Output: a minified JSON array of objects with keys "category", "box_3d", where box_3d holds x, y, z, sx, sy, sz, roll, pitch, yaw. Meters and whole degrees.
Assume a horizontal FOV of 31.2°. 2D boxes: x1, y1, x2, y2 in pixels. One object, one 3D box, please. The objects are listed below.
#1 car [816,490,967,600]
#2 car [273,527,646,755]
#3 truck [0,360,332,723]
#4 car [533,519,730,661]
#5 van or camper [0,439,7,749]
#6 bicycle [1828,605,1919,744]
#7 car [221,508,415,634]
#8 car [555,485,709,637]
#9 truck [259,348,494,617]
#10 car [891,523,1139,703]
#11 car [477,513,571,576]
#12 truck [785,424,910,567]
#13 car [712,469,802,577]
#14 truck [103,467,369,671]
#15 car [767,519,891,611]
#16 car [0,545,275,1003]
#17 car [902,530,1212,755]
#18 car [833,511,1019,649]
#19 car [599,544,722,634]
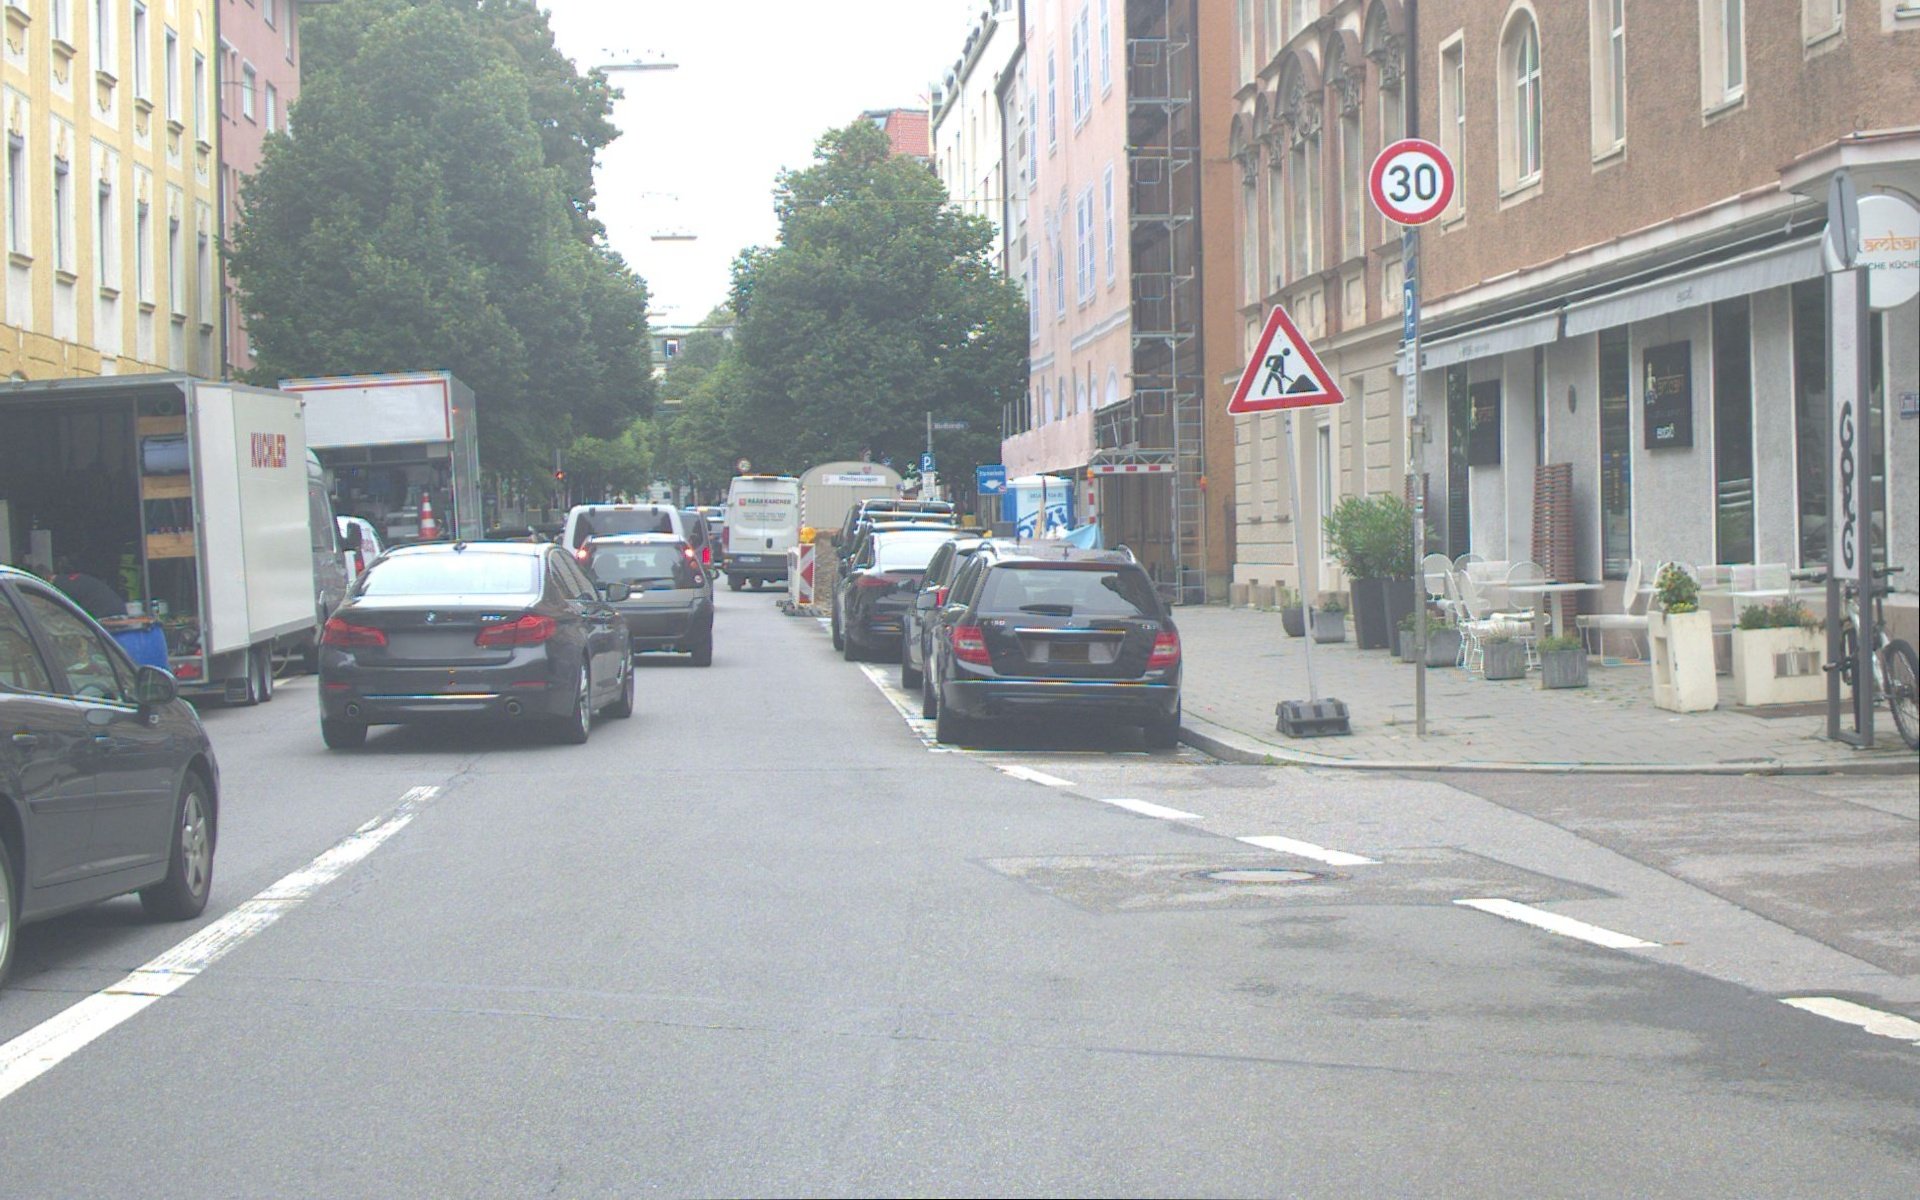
[{"category":"car","box_3d":[-1.005,-0.805,48.144,1.990,1.424,4.141,-1,2,-3]},{"category":"car","box_3d":[-3.591,0.223,25.571,1.990,1.424,4.906,-1,2,1]},{"category":"truck","box_3d":[-7.574,-0.590,30.928,2.773,2.863,7.203,-1,2,-2]},{"category":"car","box_3d":[-3.644,-0.154,38.784,1.990,1.424,4.141,-1,2,-3]},{"category":"van or camper","box_3d":[-7.773,-0.267,20.598,2.600,2.830,6.187,-1,2,-3]},{"category":"bicycle","box_3d":[5.776,0.448,21.271,0.456,0.802,1.326,0,1,-1]},{"category":"car","box_3d":[-8.590,-0.417,46.317,1.990,1.605,4.141,0,1,-3]},{"category":"car","box_3d":[-4.723,-0.613,49.958,1.990,2.068,4.141,-1,2,-3]},{"category":"truck","box_3d":[-9.044,-1.801,54.035,3.012,3.938,6.997,0,1,-5]},{"category":"car","box_3d":[0.434,0.065,31.528,1.844,1.424,4.141,2,2,-4]},{"category":"car","box_3d":[-10.220,-1.312,80.810,1.939,1.443,3.867,0,1,-4]},{"category":"truck","box_3d":[-2.471,-2.225,74.037,2.491,2.963,5.328,0,1,-4]},{"category":"car","box_3d":[-4.752,-1.815,81.074,1.939,2.472,4.783,0,1,-1]},{"category":"truck","box_3d":[-8.125,-0.384,39.057,2.286,2.164,4.807,0,1,-4]},{"category":"car","box_3d":[-2.228,-0.619,58.003,1.990,1.424,4.141,-1,2,-3]},{"category":"car","box_3d":[-3.901,0.553,12.572,1.759,1.456,4.074,-1,1,3]},{"category":"car","box_3d":[0.634,0.253,25.786,1.844,1.424,4.184,2,2,-4]},{"category":"car","box_3d":[-0.457,-0.279,40.284,1.844,1.424,4.307,2,2,-4]},{"category":"car","box_3d":[-5.280,-0.222,61.036,1.990,1.424,4.141,-1,2,-3]}]
